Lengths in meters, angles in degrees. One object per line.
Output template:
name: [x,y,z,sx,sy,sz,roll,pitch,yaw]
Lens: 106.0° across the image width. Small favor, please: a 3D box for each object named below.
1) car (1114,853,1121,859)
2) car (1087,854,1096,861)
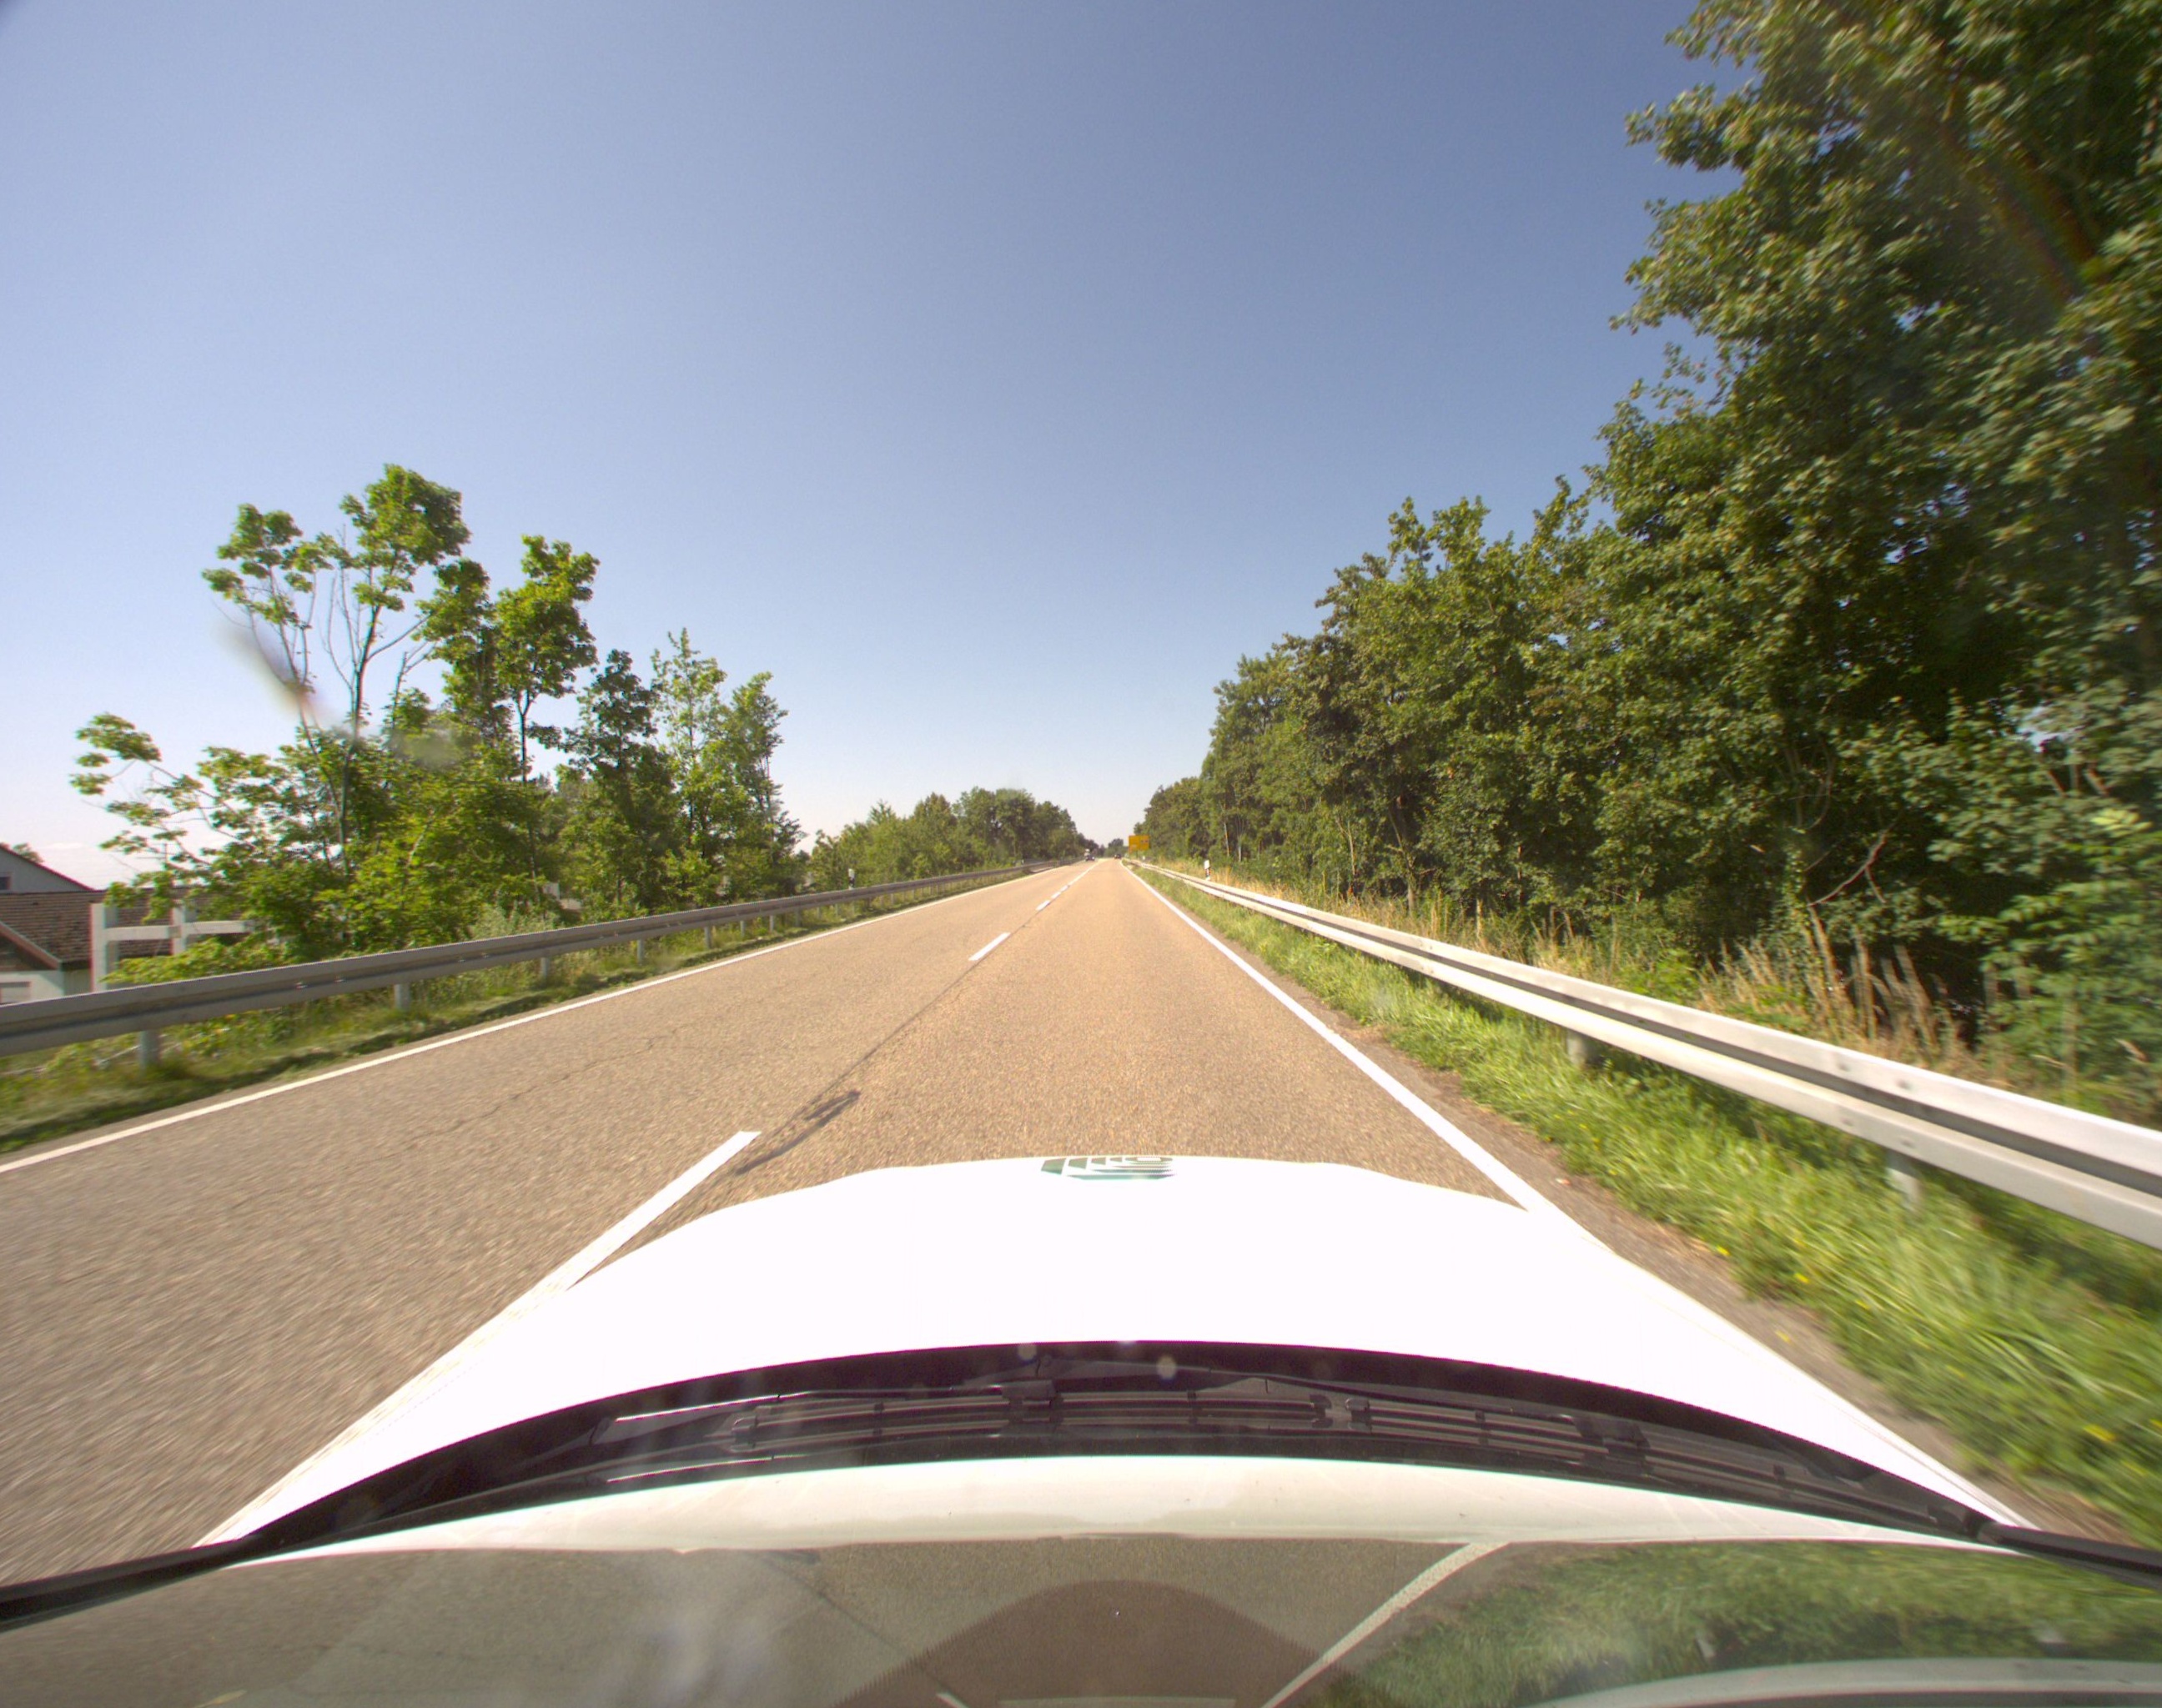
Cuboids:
car: [9.457,0.587,211.903,1.734,1.470,3.695,-1,0,3]
car: [2.264,0.841,177.592,1.739,1.425,4.680,-1,0,2]
